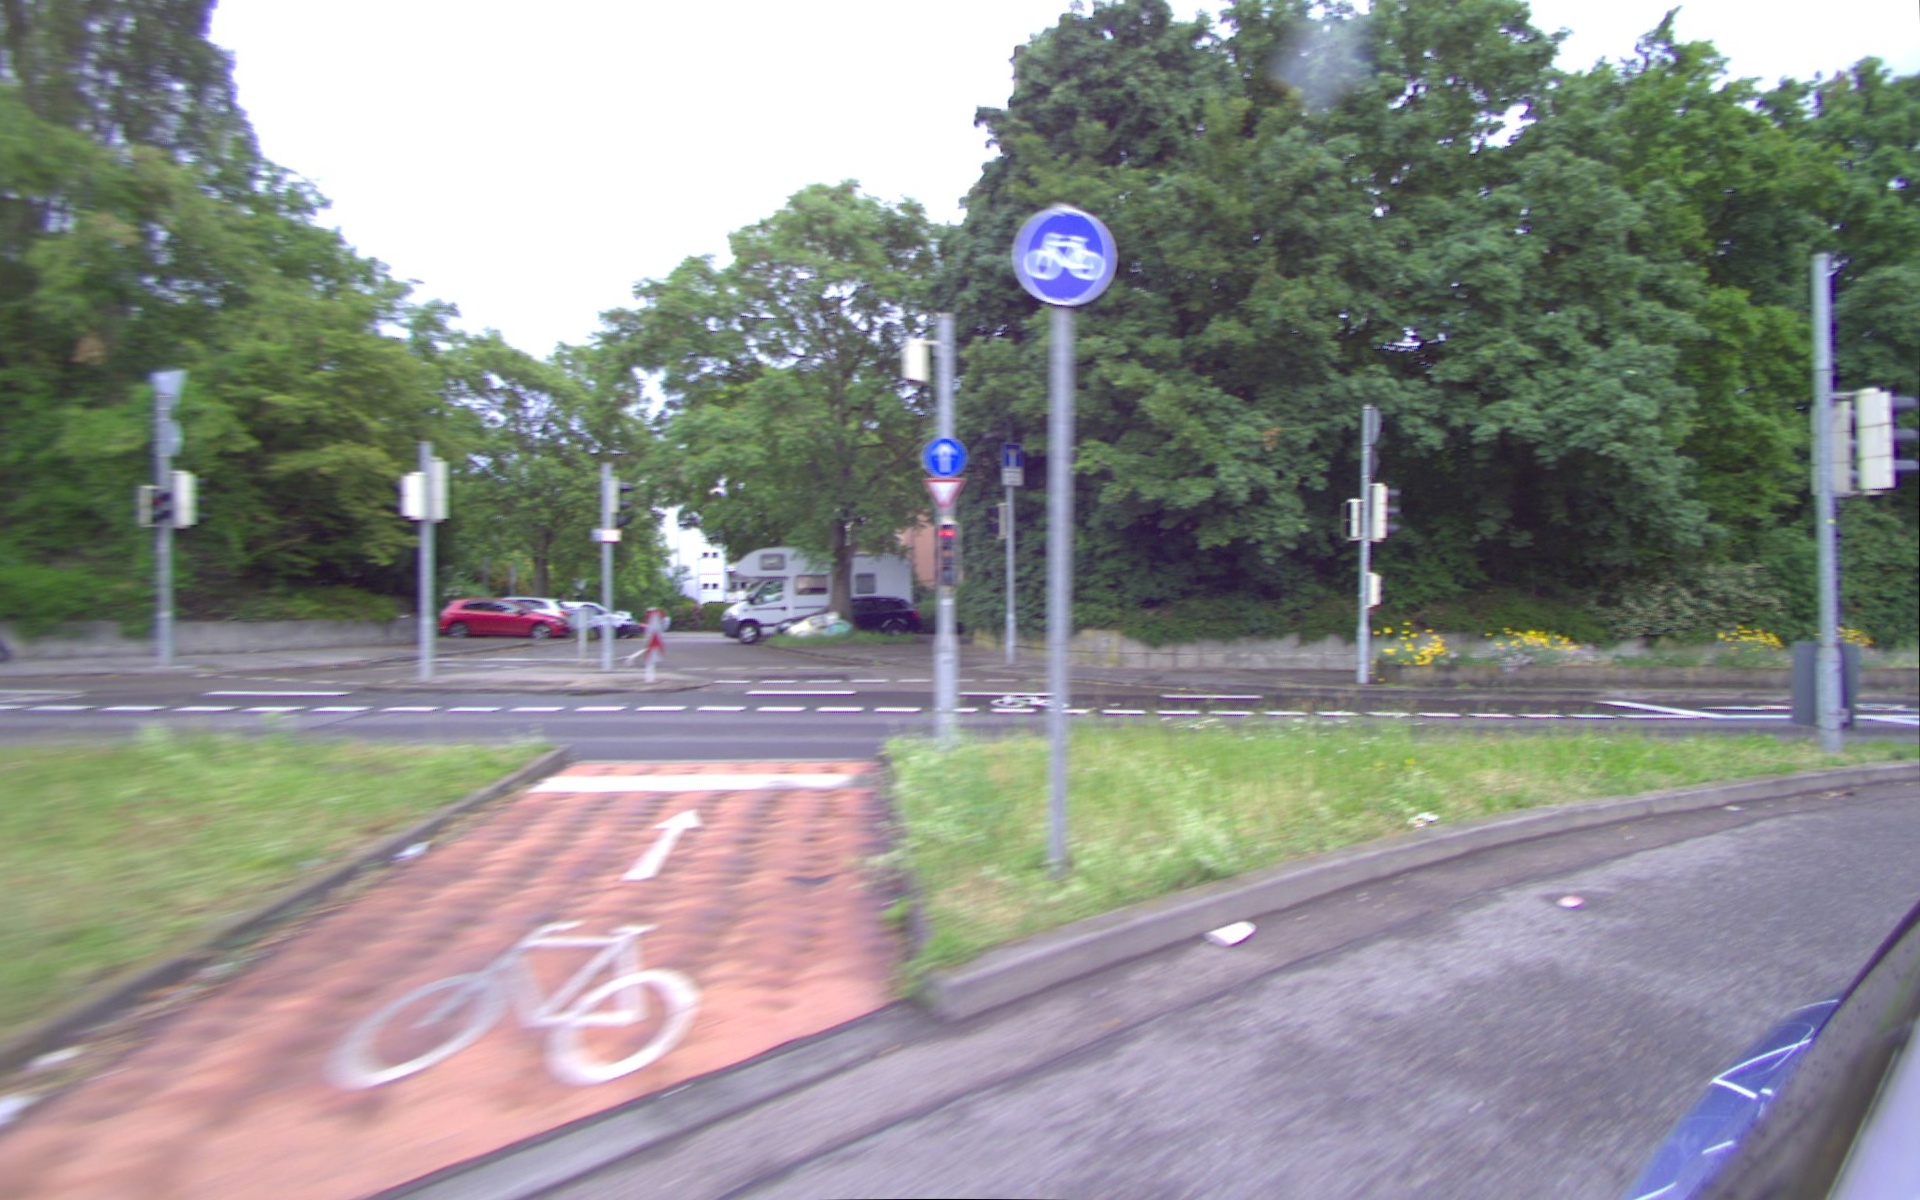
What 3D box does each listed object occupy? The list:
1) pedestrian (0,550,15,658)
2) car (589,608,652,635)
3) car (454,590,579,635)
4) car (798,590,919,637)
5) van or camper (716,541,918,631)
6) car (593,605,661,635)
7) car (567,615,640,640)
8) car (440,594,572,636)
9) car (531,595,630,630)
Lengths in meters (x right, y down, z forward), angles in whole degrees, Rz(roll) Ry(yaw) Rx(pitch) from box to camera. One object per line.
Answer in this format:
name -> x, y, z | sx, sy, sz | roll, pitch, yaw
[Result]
pedestrian -> -14.683, 0.068, 14.972 | 0.669, 1.627, 0.811 | -2, -1, -8
car -> -22.937, 1.455, 68.432 | 3.916, 1.764, 1.682 | 0, 1, -14
car -> -16.032, 0.426, 36.776 | 3.916, 1.568, 1.682 | 0, 1, -14
car -> -3.103, 0.385, 30.687 | 3.399, 1.371, 1.682 | 0, 1, -14
van or camper -> -4.708, -0.454, 33.184 | 6.297, 2.789, 2.435 | 0, 1, -12
car -> -20.658, 1.211, 62.898 | 3.916, 1.764, 1.682 | 0, 1, -14
car -> -21.038, 1.628, 59.809 | 3.916, 1.371, 1.682 | 0, 1, -14
car -> -15.464, 0.489, 34.660 | 3.916, 1.371, 1.682 | 0, 1, -14
car -> -19.478, 0.631, 52.083 | 4.596, 1.754, 1.883 | 0, 1, -14
